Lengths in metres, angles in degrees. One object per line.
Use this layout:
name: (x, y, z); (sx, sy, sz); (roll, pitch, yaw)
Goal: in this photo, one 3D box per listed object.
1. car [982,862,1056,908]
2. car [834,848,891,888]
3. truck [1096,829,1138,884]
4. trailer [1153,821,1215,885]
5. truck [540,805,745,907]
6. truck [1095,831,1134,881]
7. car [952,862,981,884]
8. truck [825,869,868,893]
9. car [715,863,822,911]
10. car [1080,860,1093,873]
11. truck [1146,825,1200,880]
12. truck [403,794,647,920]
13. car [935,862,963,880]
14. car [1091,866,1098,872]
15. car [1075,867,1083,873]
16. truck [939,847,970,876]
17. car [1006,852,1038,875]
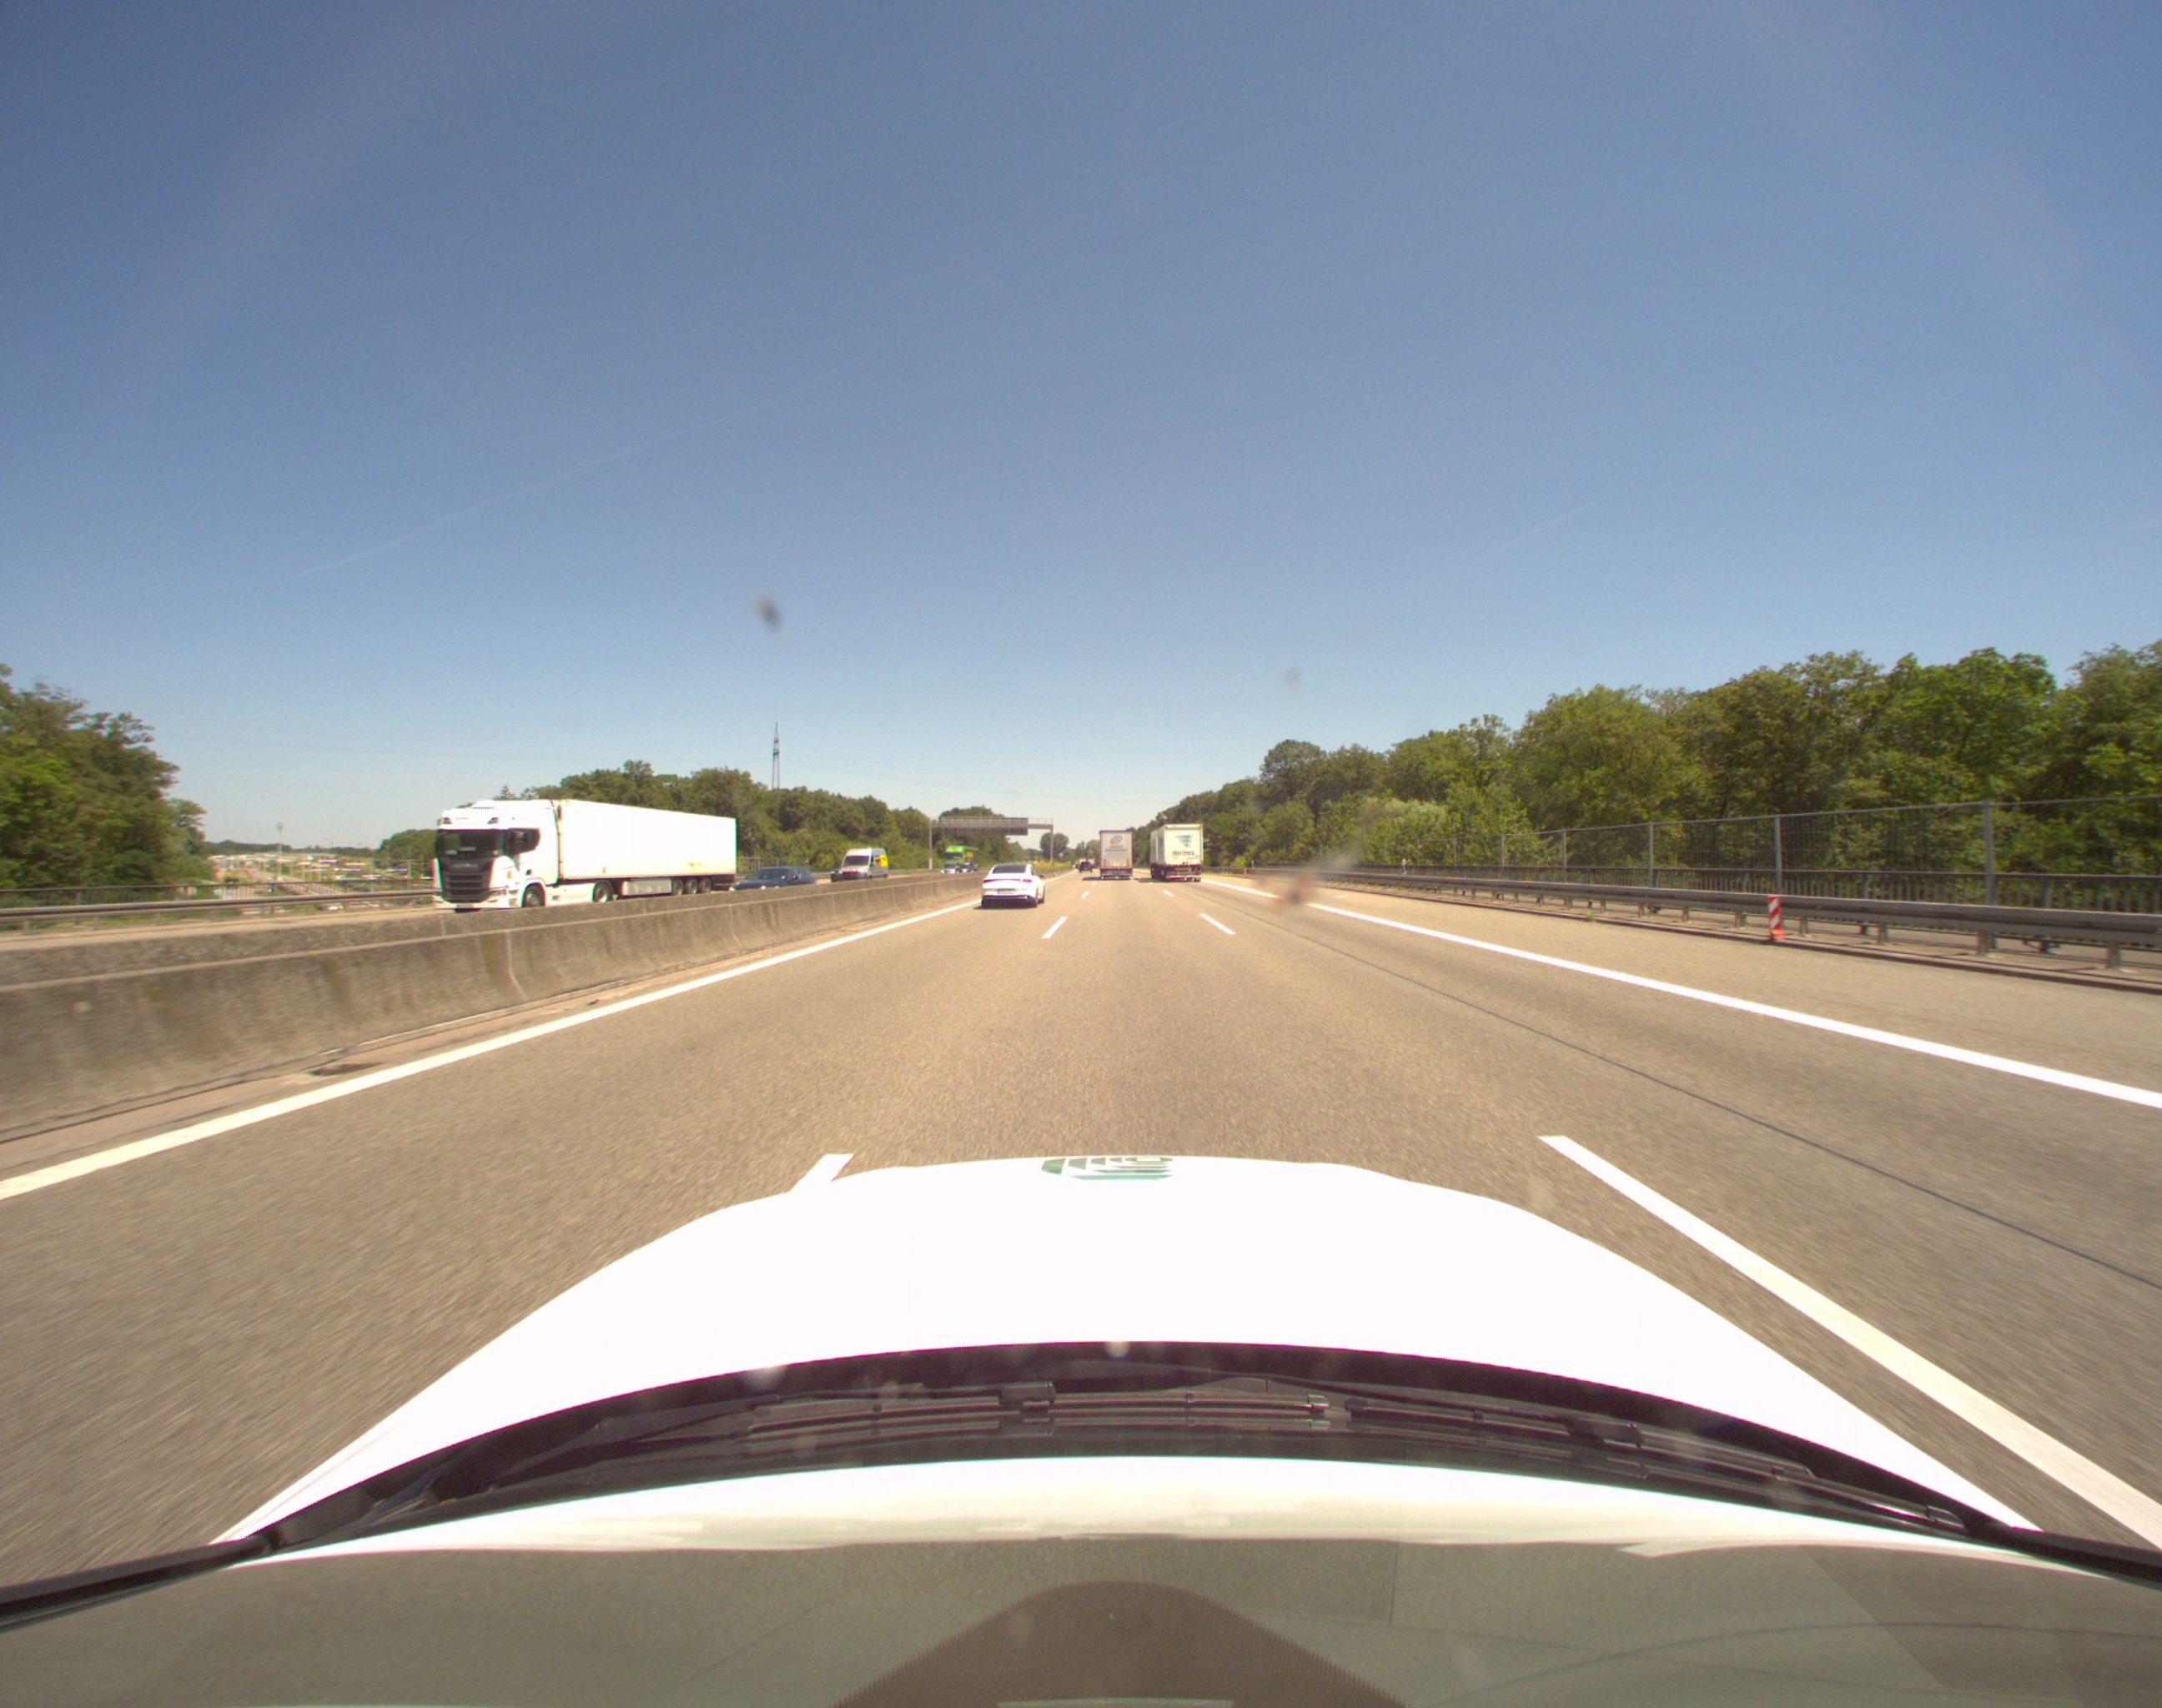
car: (-2.090, 1.041, 28.926); (1.758, 1.448, 5.115); (-1, 0, 5)
car: (-14.705, 0.919, 55.249); (1.985, 2.568, 6.132); (-1, 0, 2)
truck: (2.883, 0.239, 67.052); (3.217, 4.202, 8.468); (-1, 0, 1)
trailer: (7.122, -0.127, 57.762); (3.356, 4.142, 9.093); (-1, 1, 1)
truck: (-19.594, 0.099, 37.692); (3.036, 3.977, 11.155); (-1, 0, 2)
truck: (2.998, 0.224, 73.090); (3.206, 4.205, 6.553); (-1, -1, 2)
car: (-10.239, 1.672, 73.251); (1.986, 1.849, 4.000); (-1, -1, 1)
truck: (-18.575, 2.088, 64.719); (1.986, 1.800, 4.743); (-1, -1, 1)
car: (-11.468, 1.148, 30.316); (1.986, 1.628, 5.016); (-1, -1, 1)
car: (0.924, 1.862, 125.804); (1.987, 1.874, 4.001); (-1, 1, 1)
truck: (7.294, -0.156, 66.277); (3.314, 4.052, 10.955); (-1, 1, 1)
truck: (-19.912, 0.106, 30.065); (3.036, 3.977, 8.292); (-1, 0, 2)
car: (-13.225, 1.661, 81.663); (1.992, 1.712, 4.540); (-1, -1, 1)
car: (4.010, 4.511, 245.779); (1.987, 1.596, 3.999); (-1, -1, 0)
car: (-0.534, 4.046, 205.307); (1.987, 1.596, 3.999); (-1, -1, 0)
truck: (-17.869, 1.041, 115.464); (2.910, 3.941, 6.503); (-1, 0, 3)
car: (-5.387, 0.847, 74.401); (2.282, 2.013, 4.715); (-1, 0, 3)
